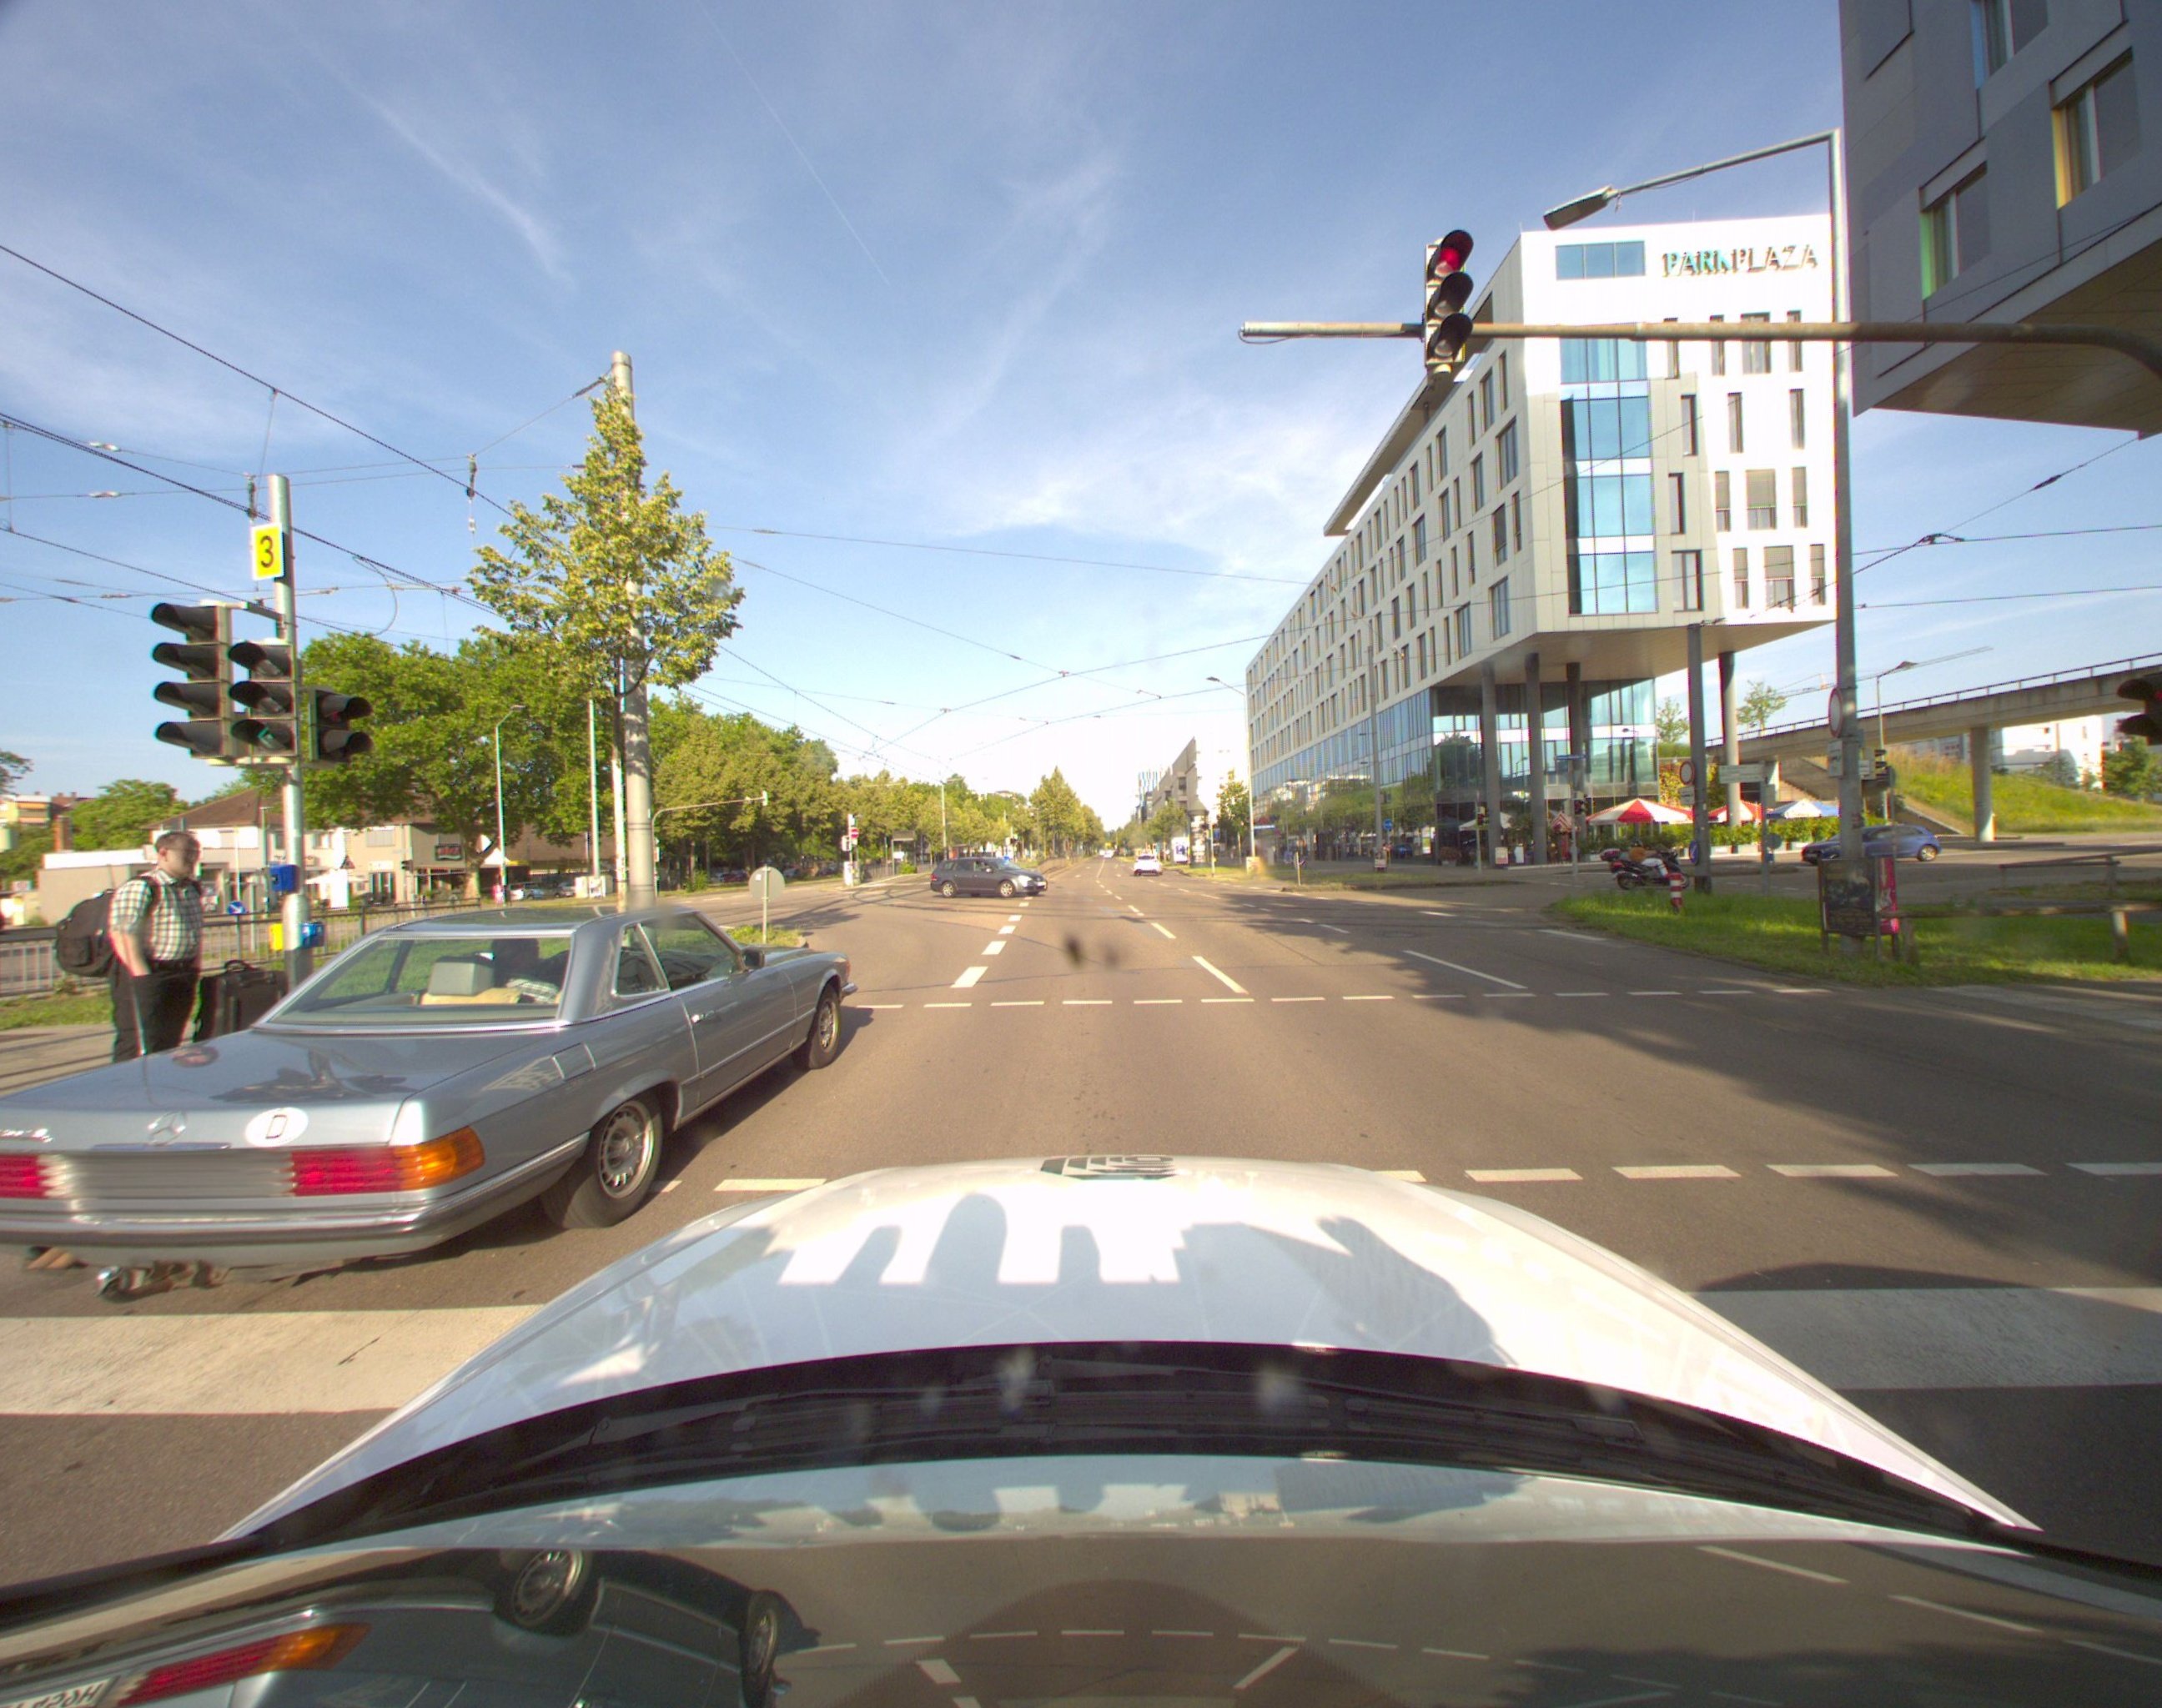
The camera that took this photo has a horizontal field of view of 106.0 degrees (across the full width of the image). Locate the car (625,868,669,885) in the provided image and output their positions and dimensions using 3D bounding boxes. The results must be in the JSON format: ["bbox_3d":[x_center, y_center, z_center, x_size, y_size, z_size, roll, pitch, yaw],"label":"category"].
[{"bbox_3d":[-43.781,2.229,82.161,1.871,1.559,4.008,-3,0,7],"label":"car"}]

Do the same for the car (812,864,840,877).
[{"bbox_3d":[-32.769,2.097,104.589,1.871,1.559,4.008,-3,0,7],"label":"car"}]

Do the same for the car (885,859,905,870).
[{"bbox_3d":[-29.702,1.657,130.019,1.871,1.559,4.008,-3,0,7],"label":"car"}]

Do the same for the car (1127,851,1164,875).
[{"bbox_3d":[4.479,0.619,55.794,1.980,1.504,4.106,-2,-1,12],"label":"car"}]

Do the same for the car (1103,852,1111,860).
[{"bbox_3d":[6.307,0.452,194.754,1.857,1.684,4.003,0,1,2],"label":"car"}]

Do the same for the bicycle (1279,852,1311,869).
[{"bbox_3d":[13.847,0.399,52.787,0.778,1.032,1.856,-2,2,-42],"label":"bicycle"}]

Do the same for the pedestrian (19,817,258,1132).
[{"bbox_3d":[-5.697,0.688,4.963,0.697,1.792,0.636,-1,0,2],"label":"pedestrian"}]

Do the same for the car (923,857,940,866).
[{"bbox_3d":[-27.541,1.414,150.405,1.871,1.559,4.008,-3,0,7],"label":"car"}]

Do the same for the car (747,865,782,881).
[{"bbox_3d":[-34.746,2.047,89.600,1.871,1.559,4.008,-3,0,7],"label":"car"}]

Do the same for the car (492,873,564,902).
[{"bbox_3d":[-38.228,2.302,56.451,1.871,1.750,4.008,-3,0,7],"label":"car"}]

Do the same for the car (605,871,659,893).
[{"bbox_3d":[-37.021,2.283,67.244,1.871,1.559,4.008,-3,0,7],"label":"car"}]

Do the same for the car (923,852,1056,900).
[{"bbox_3d":[-3.324,0.794,29.280,4.515,1.461,1.745,-3,0,30],"label":"car"}]

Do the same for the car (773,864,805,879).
[{"bbox_3d":[-34.056,2.072,95.160,1.871,1.559,4.008,-3,0,7],"label":"car"}]

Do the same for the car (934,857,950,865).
[{"bbox_3d":[-26.790,1.346,156.816,1.871,1.559,4.008,-3,0,7],"label":"car"}]

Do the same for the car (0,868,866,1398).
[{"bbox_3d":[-2.686,0.816,4.451,1.757,1.330,4.401,-1,1,1],"label":"car"}]

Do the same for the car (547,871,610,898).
[{"bbox_3d":[-37.710,2.252,61.202,1.871,1.750,4.008,-3,0,7],"label":"car"}]

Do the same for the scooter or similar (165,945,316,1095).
[{"bbox_3d":[-5.662,1.105,5.504,0.546,0.907,0.430,-2,0,2],"label":"scooter or similar"}]

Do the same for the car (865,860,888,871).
[{"bbox_3d":[-30.666,1.744,122.114,1.871,1.559,4.008,-3,0,7],"label":"car"}]

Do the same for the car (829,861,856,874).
[{"bbox_3d":[-32.099,1.787,109.658,1.871,1.559,4.008,-3,0,7],"label":"car"}]

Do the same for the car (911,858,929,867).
[{"bbox_3d":[-28.450,1.481,144.300,1.871,1.559,4.008,-3,0,7],"label":"car"}]

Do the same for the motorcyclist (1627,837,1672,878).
[{"bbox_3d":[17.086,0.111,24.490,0.841,1.202,0.786,0,0,5],"label":"motorcyclist"}]

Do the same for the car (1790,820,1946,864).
[{"bbox_3d":[30.233,-0.468,31.380,4.170,1.424,1.859,-3,0,1],"label":"car"}]

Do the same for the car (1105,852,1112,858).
[{"bbox_3d":[7.585,0.305,224.970,1.857,1.684,4.003,0,1,2],"label":"car"}]

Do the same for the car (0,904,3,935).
[{"bbox_3d":[-63.529,3.805,45.641,3.964,1.728,2.005,-2,0,8],"label":"car"}]

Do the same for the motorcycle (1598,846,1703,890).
[{"bbox_3d":[17.085,0.413,24.479,2.528,1.263,0.822,-1,0,5],"label":"motorcycle"}]
